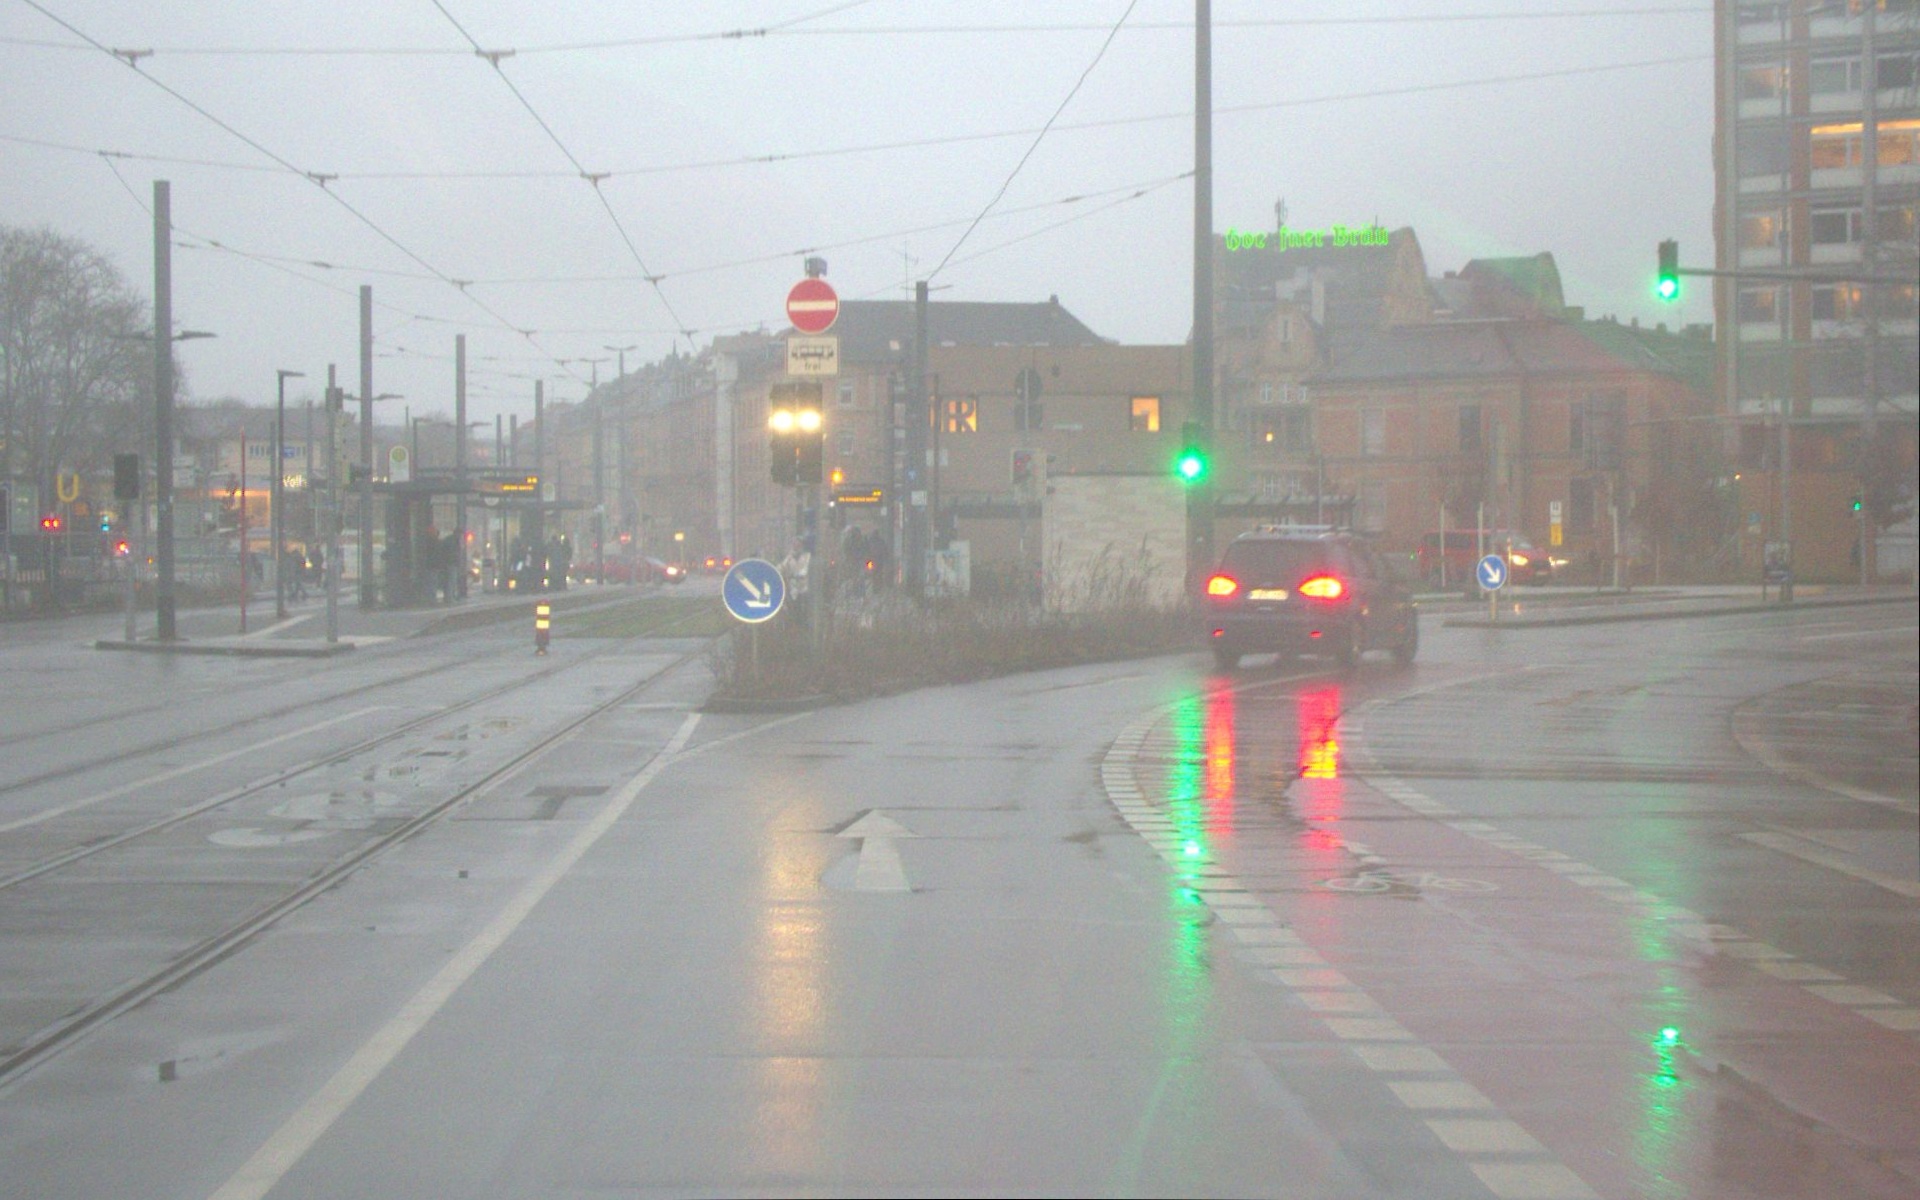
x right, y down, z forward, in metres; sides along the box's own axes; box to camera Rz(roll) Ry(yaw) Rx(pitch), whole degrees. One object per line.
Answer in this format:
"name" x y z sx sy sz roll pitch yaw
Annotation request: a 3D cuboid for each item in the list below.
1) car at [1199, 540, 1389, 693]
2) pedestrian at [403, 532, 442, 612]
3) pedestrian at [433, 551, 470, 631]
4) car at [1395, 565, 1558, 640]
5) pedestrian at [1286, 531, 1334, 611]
"car" 4.388 0.162 44.692 1.648 1.812 3.997 2 2 17
"pedestrian" -11.998 -0.627 76.745 0.712 1.751 0.717 1 0 -1
"pedestrian" -11.673 -0.209 78.953 0.712 1.800 0.717 1 0 -1
"car" 17.157 0.070 114.373 2.252 2.273 5.036 2 0 -40
"pedestrian" 7.456 -0.615 73.313 0.674 1.668 0.729 2 0 37
